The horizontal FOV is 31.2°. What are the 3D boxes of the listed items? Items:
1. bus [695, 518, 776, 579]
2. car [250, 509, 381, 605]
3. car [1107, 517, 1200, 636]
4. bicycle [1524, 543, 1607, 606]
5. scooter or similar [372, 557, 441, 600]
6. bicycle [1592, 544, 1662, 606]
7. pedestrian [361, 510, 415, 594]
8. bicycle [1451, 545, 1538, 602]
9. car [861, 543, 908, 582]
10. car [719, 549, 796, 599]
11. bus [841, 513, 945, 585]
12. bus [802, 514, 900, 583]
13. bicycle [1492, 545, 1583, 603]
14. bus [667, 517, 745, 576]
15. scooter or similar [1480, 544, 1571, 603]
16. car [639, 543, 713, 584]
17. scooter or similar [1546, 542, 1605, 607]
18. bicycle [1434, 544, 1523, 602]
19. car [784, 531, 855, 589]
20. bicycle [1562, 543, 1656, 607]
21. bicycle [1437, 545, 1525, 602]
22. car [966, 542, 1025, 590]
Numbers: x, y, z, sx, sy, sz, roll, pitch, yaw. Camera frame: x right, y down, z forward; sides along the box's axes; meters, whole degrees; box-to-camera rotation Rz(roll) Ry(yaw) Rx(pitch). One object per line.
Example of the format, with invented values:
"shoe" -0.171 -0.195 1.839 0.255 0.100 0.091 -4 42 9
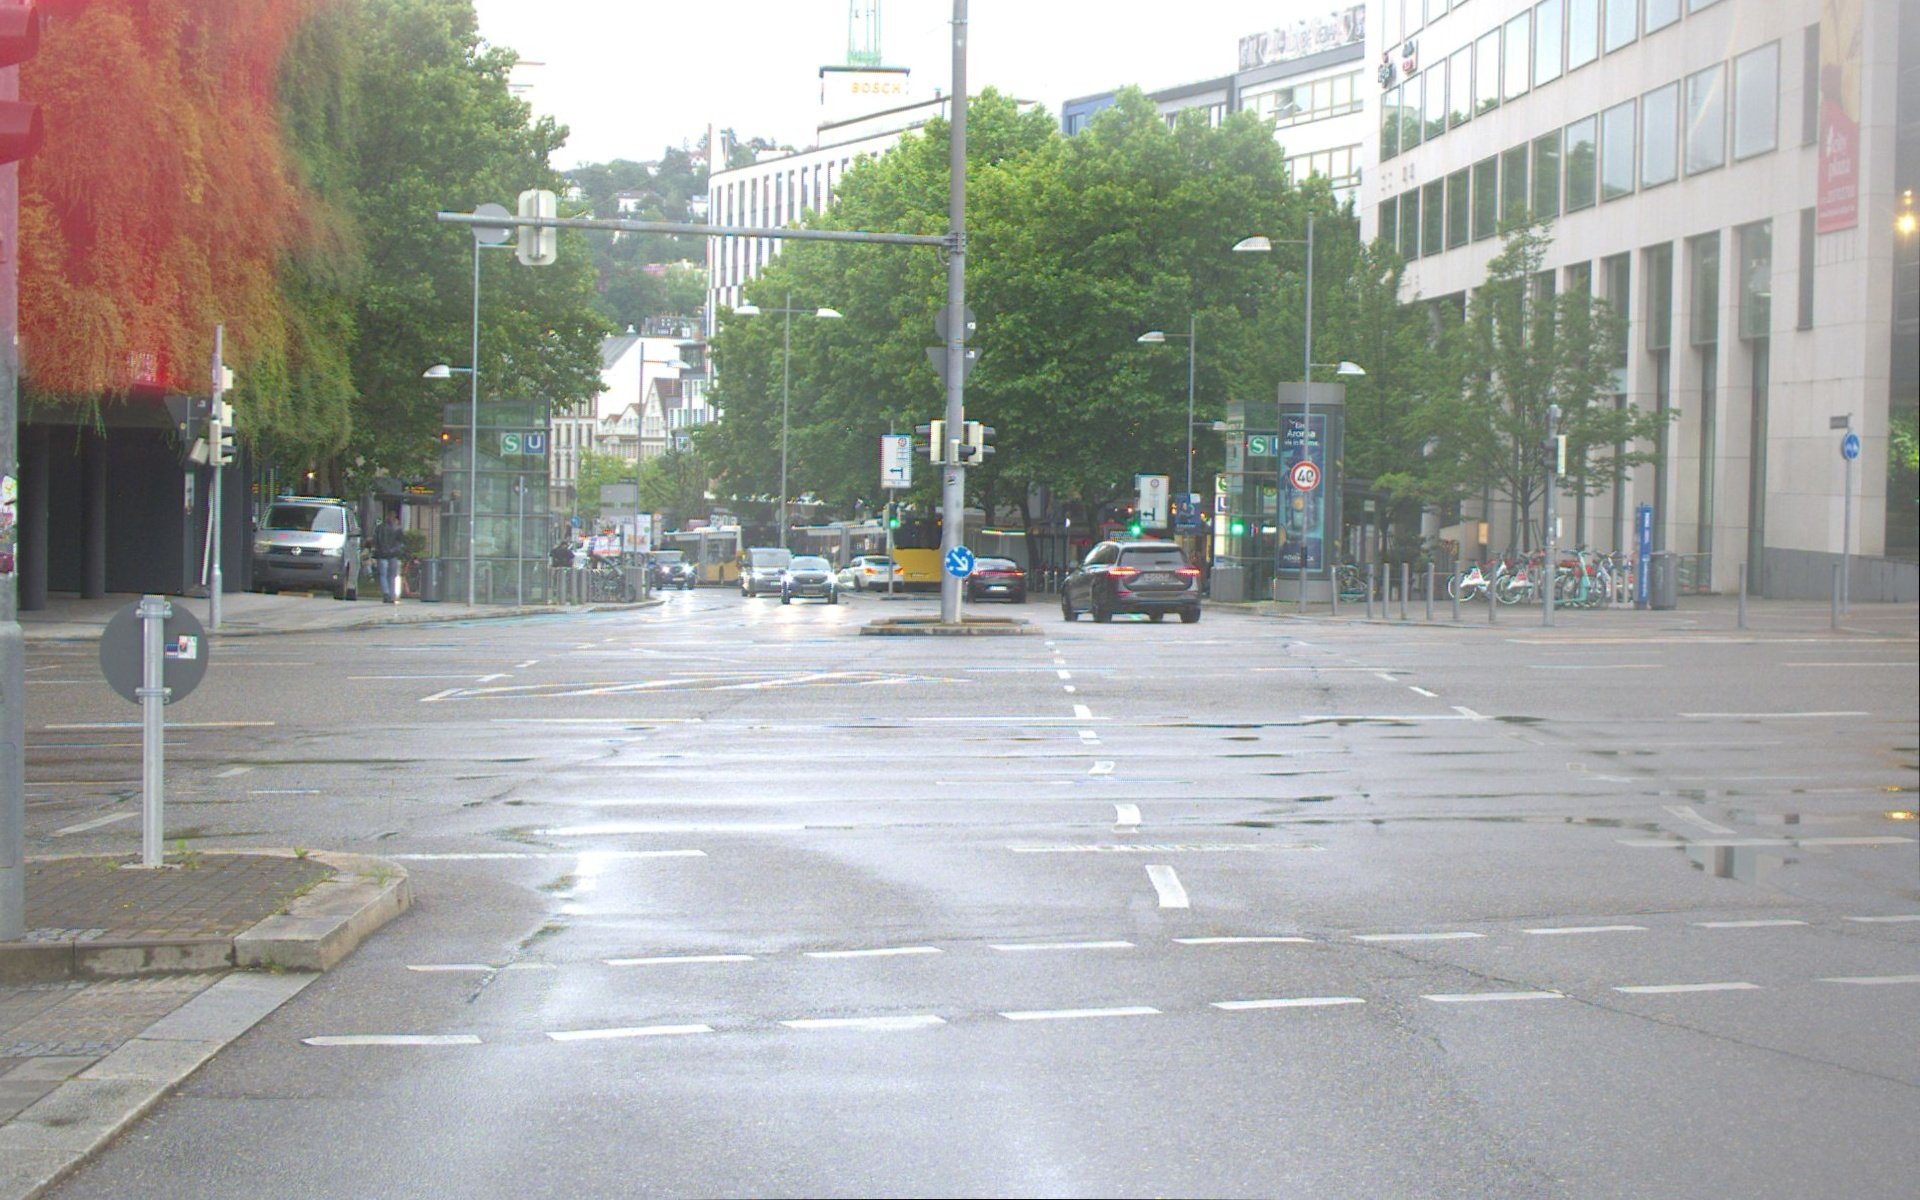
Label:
"bus" -11.359 -2.624 173.229 2.627 2.985 7.330 0 1 -16
"car" -12.778 -0.844 68.326 1.870 1.833 4.000 1 1 -1
"car" 3.441 -0.422 60.703 1.544 2.007 4.668 1 1 4
"bicycle" 11.692 -0.495 66.392 0.584 1.190 1.784 1 1 -28
"scooter or similar" -13.285 -0.523 82.543 0.623 1.001 1.657 1 1 38
"bicycle" 12.995 -0.482 66.949 0.586 1.190 1.779 1 1 38
"pedestrian" -11.343 -0.945 68.192 0.933 1.638 0.774 1 0 -1
"bicycle" 11.552 -0.575 74.323 1.777 1.190 0.586 1 0 2
"car" -2.998 -1.489 136.858 1.781 1.503 4.000 1 1 -1
"car" -7.371 -0.958 124.803 2.163 1.759 4.832 -1 1 -11
"bus" -2.902 -2.193 145.937 2.627 2.985 7.451 0 1 -16
"bus" -4.916 -2.332 153.083 2.627 2.985 7.451 0 1 -16
"bicycle" 12.023 -0.542 71.602 1.777 1.190 0.586 1 0 2
"bus" -13.373 -2.826 180.324 2.627 2.985 7.451 0 1 -16
"scooter or similar" 11.669 -0.541 70.979 1.777 1.190 0.586 1 0 2
"car" -12.597 -1.617 152.223 2.163 1.759 5.113 1 1 -18
"scooter or similar" 11.481 -0.476 64.155 0.963 1.190 0.454 1 1 40
"bicycle" 10.976 -0.568 72.771 1.777 1.190 0.586 1 0 2
"car" -4.476 -1.252 108.848 2.164 1.759 5.112 1 1 -3
"bicycle" 12.235 -0.472 64.840 1.624 1.190 0.586 1 0 26
"bicycle" 11.124 -0.572 73.405 1.777 1.190 0.586 1 0 2
"car" 1.125 -1.088 110.153 1.781 1.503 4.000 1 1 -1
